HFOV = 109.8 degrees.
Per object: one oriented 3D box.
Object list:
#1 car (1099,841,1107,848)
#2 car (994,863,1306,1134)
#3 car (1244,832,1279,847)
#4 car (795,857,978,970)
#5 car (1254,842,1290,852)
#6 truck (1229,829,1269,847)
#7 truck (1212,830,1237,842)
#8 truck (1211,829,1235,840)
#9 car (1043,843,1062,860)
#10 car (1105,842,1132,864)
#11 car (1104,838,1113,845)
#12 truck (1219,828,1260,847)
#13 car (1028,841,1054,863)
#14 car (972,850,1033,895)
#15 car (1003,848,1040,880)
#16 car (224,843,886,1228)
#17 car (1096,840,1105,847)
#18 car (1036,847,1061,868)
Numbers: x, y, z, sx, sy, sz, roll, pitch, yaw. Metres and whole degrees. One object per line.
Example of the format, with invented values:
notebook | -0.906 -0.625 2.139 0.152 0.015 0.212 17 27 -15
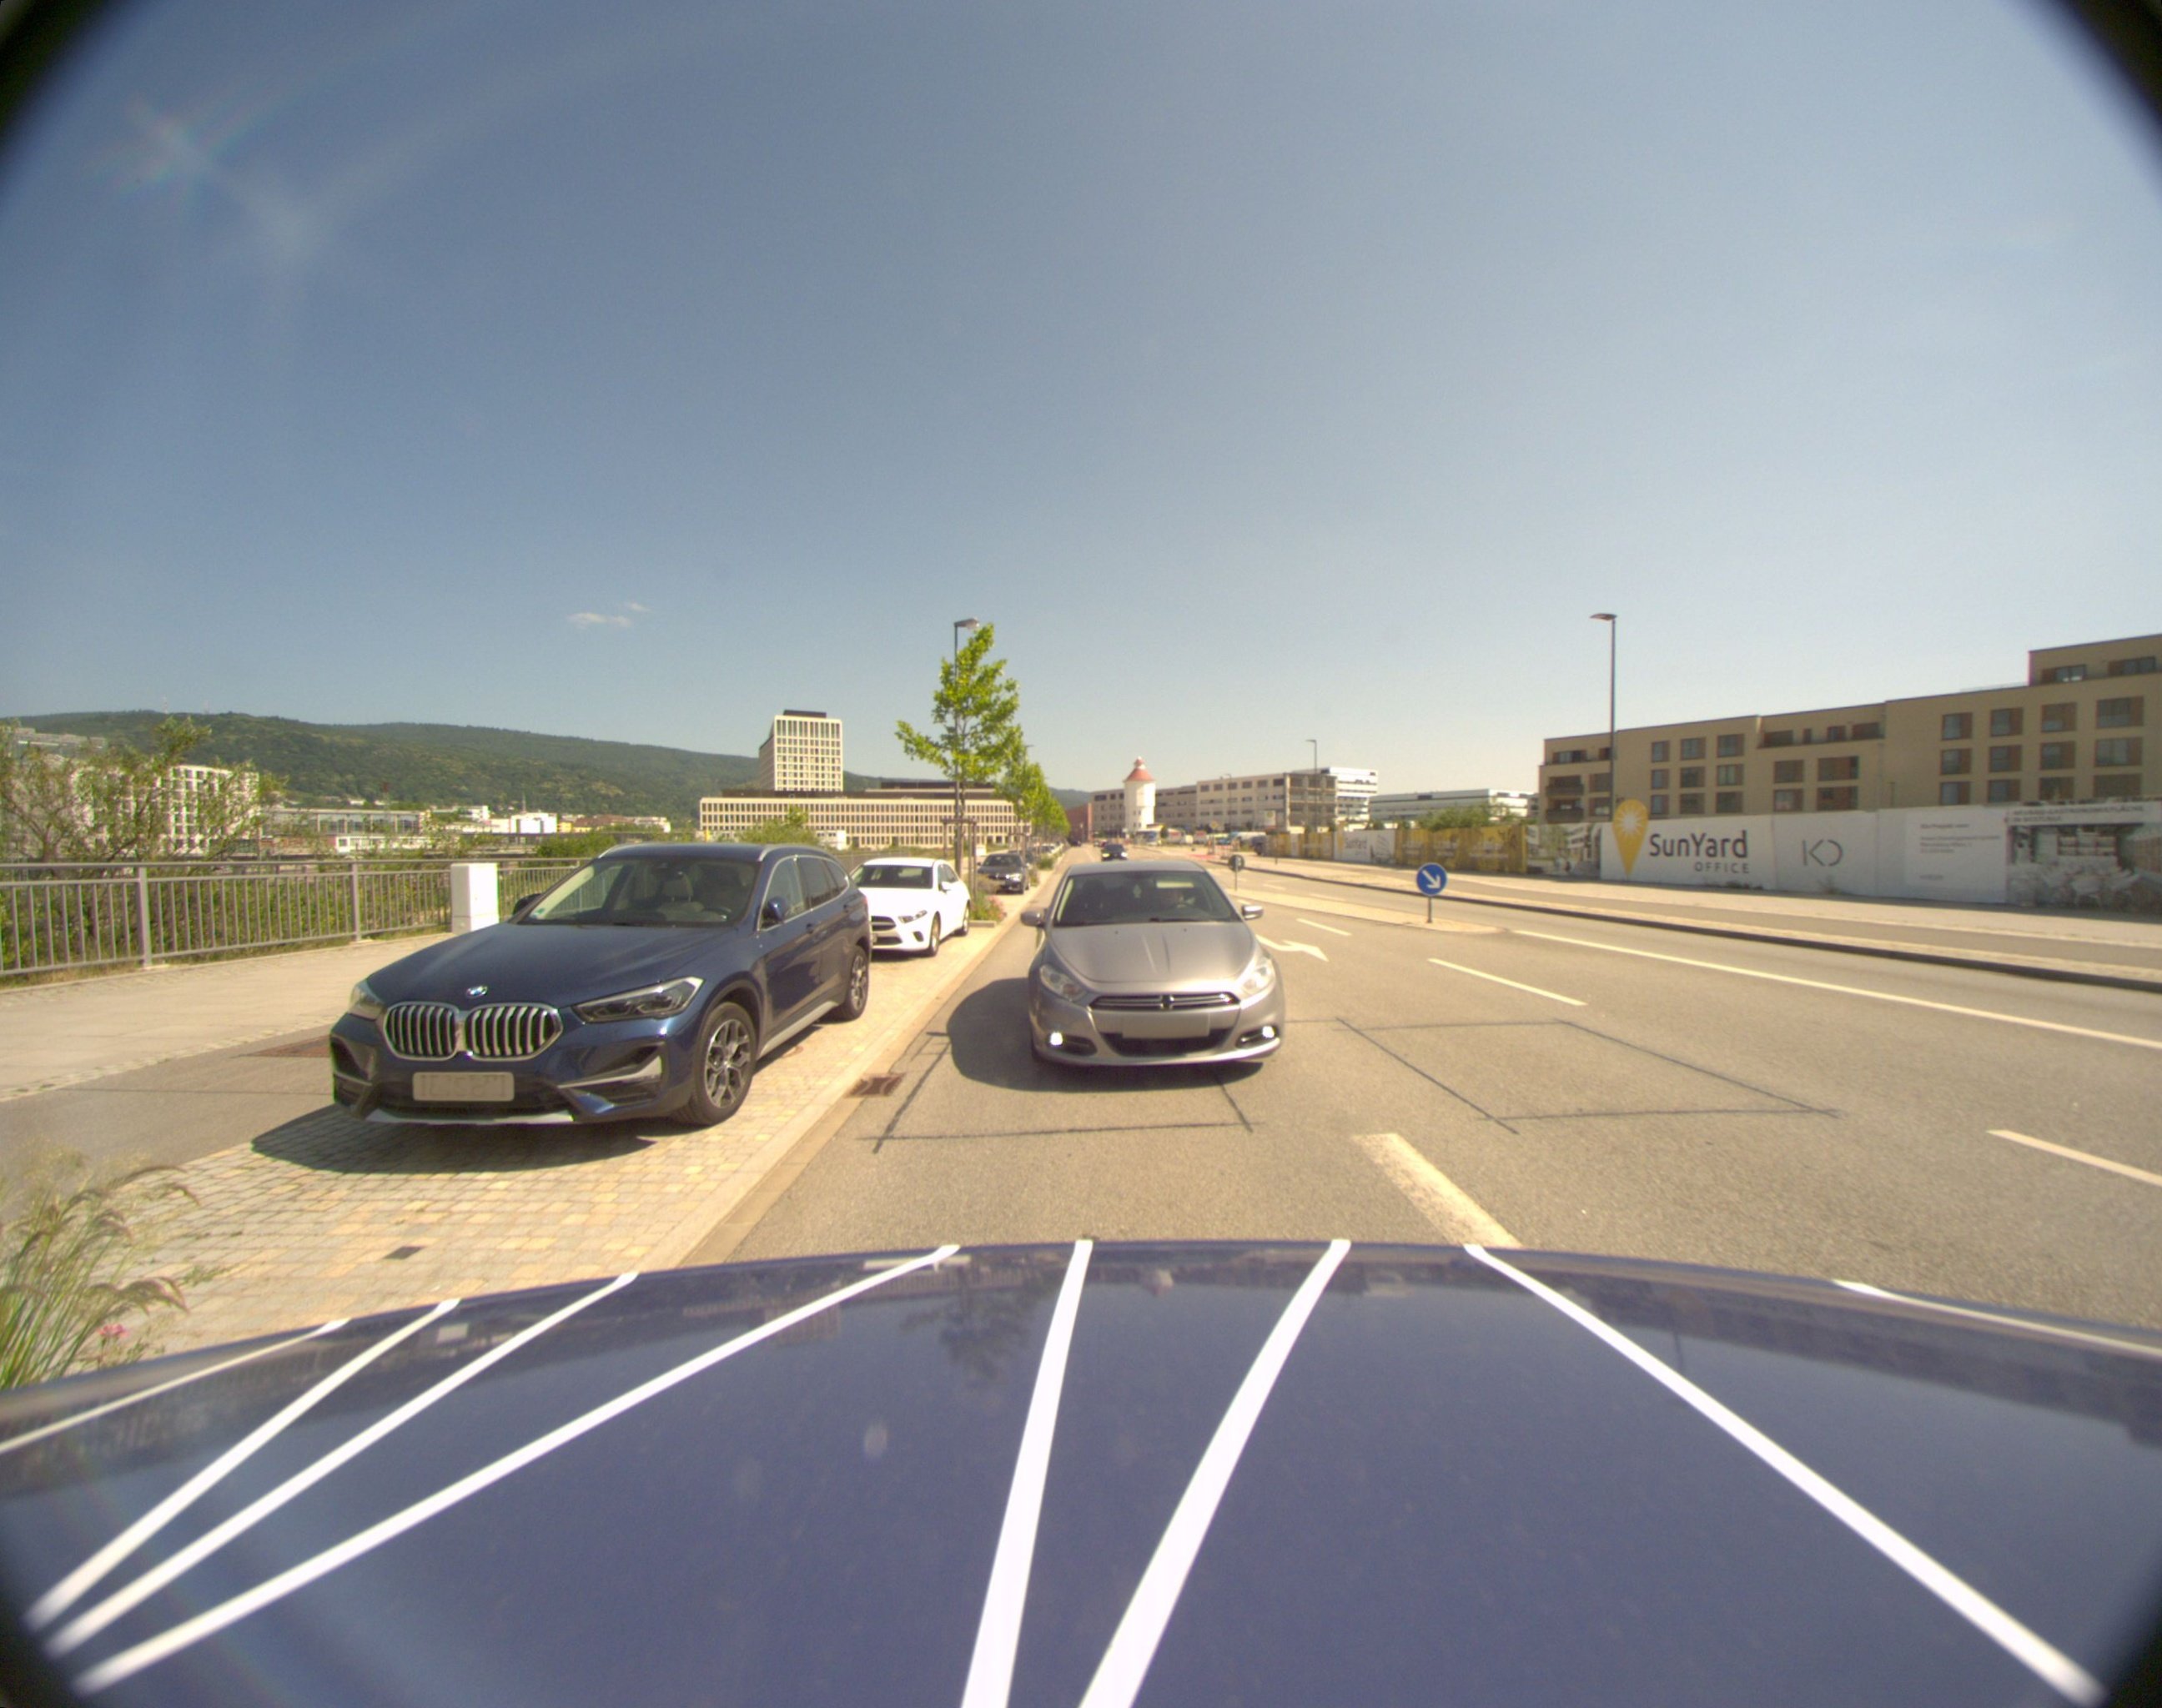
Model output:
car | 5.350 -2.244 181.596 1.819 1.458 3.876 -1 1 2
car | 0.450 0.895 6.703 1.820 1.458 4.346 -2 1 1
car | 22.892 -1.854 96.509 3.930 1.708 1.891 -3 1 -5
car | -2.929 0.813 12.433 1.710 1.366 4.270 2 1 2
car | 19.564 -0.730 77.909 3.359 0.947 1.293 -2 1 3
truck | 23.401 -2.242 105.895 5.005 2.215 1.999 -2 1 -1
truck | 33.397 -4.154 177.264 5.333 2.461 1.999 -3 1 -4
truck | 34.614 -4.668 185.197 5.412 2.461 1.999 -2 1 -2
car | -2.647 -0.275 70.589 1.526 1.482 3.504 -3 1 0
car | 2.724 -0.064 55.957 1.819 1.458 4.347 -3 1 2
car | 5.949 -2.633 162.970 1.820 1.458 4.346 -1 1 1
truck | 23.635 -2.439 113.256 5.633 2.461 1.999 -3 1 -4
car | -3.195 -0.153 61.057 1.768 1.609 3.374 -3 1 0
car | -2.811 0.635 27.907 1.808 1.424 3.915 2 1 0
car | -2.953 0.455 38.155 1.569 1.465 3.006 2 1 0
car | -2.874 0.783 5.504 1.808 1.674 4.270 1 1 0
car | 4.388 -2.431 170.369 1.820 1.458 3.912 -1 1 1
car | -2.161 0.232 50.708 1.490 1.302 3.154 2 1 0
